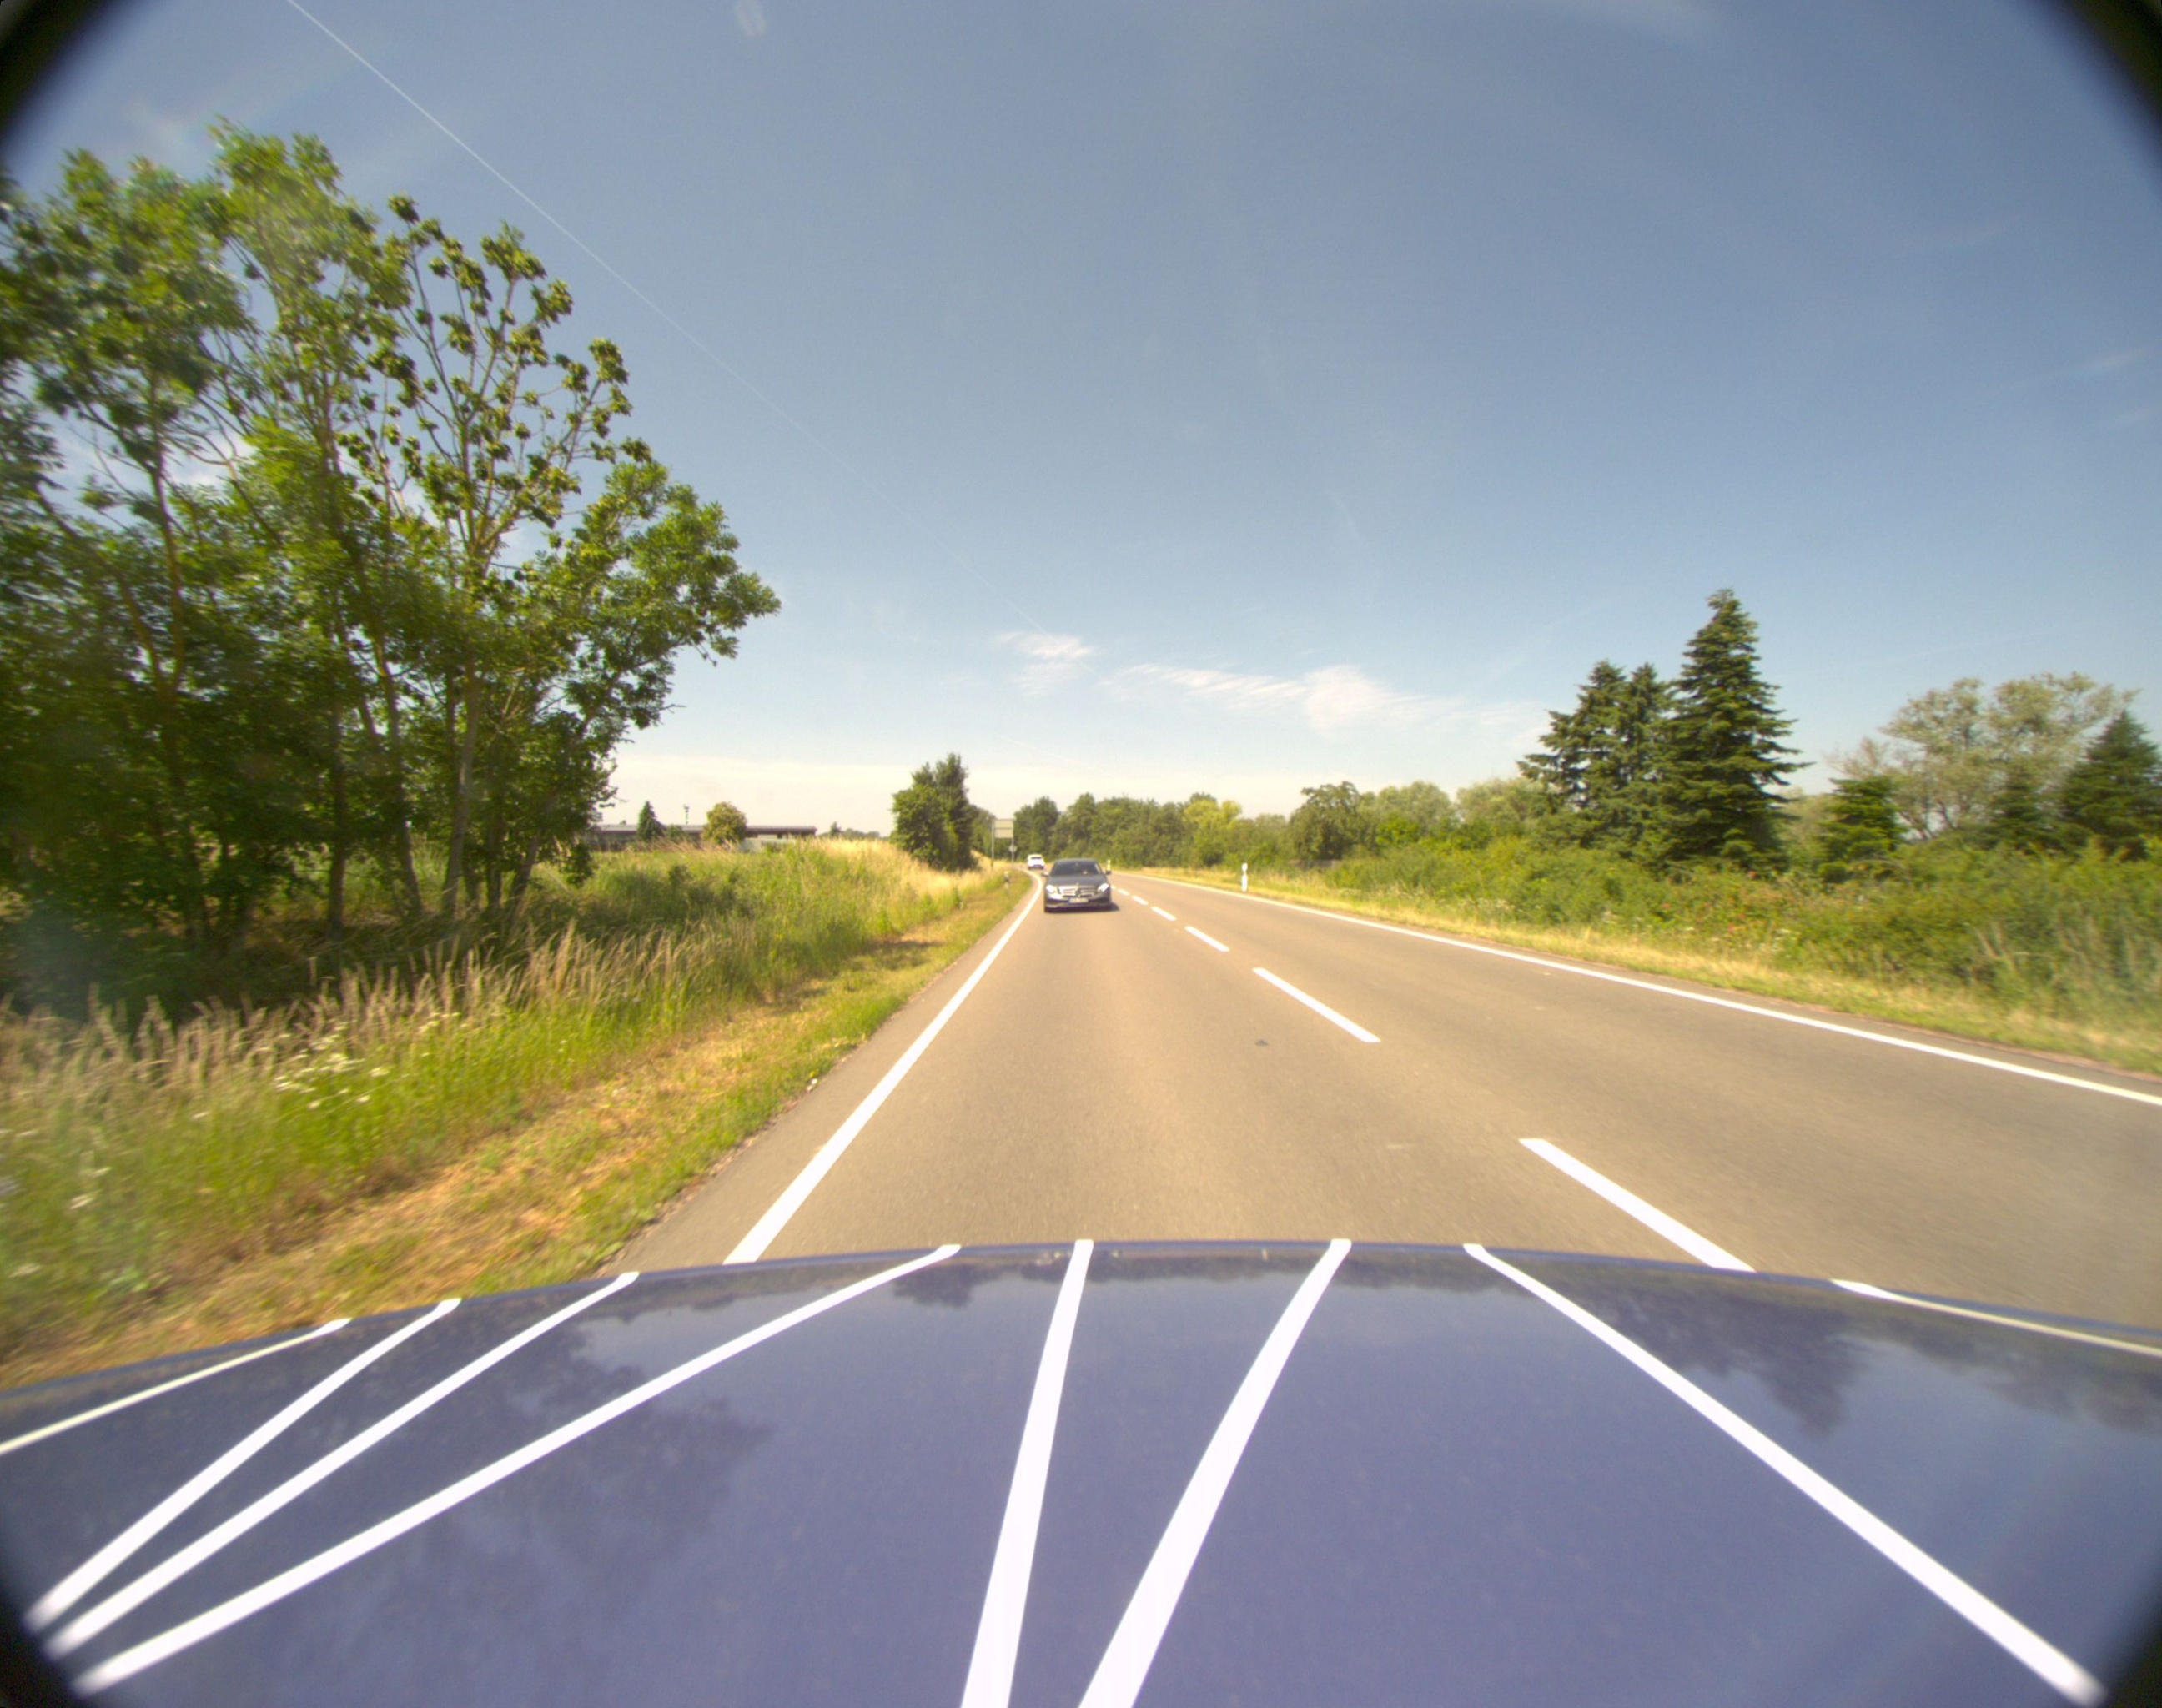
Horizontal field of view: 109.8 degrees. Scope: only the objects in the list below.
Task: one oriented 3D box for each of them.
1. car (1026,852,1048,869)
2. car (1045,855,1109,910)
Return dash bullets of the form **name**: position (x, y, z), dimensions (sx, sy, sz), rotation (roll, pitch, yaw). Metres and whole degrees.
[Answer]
- **car**: position (-5.680, 0.866, 97.653), dimensions (2.181, 2.002, 5.021), rotation (-3, 0, -10)
- **car**: position (-0.027, 0.842, 24.454), dimensions (1.831, 1.540, 4.499), rotation (-1, 0, 2)
